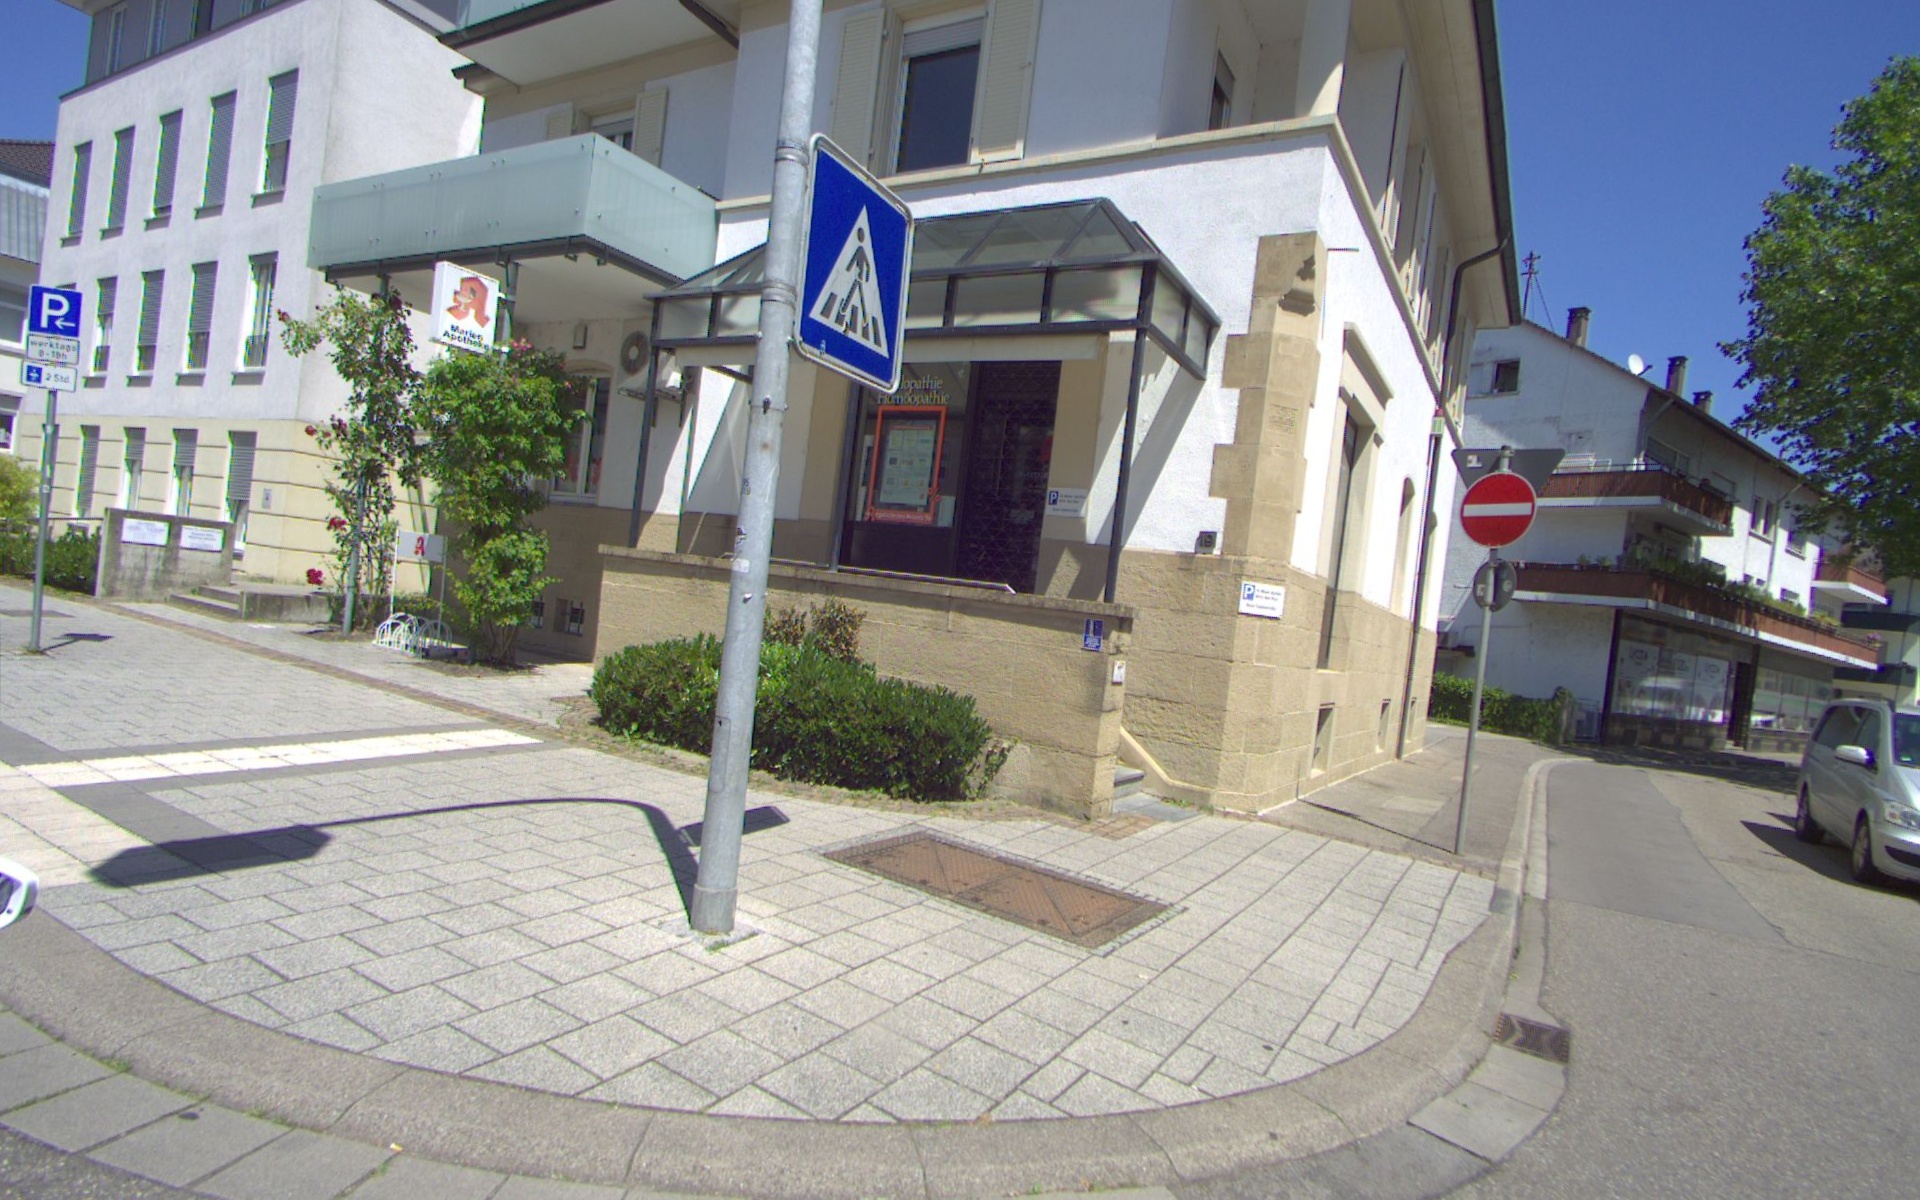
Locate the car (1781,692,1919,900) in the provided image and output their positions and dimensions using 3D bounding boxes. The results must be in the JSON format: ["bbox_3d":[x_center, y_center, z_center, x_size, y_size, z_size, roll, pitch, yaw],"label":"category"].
[{"bbox_3d":[10.823,2.122,11.085,1.896,1.899,4.801,9,0,32],"label":"car"}]
